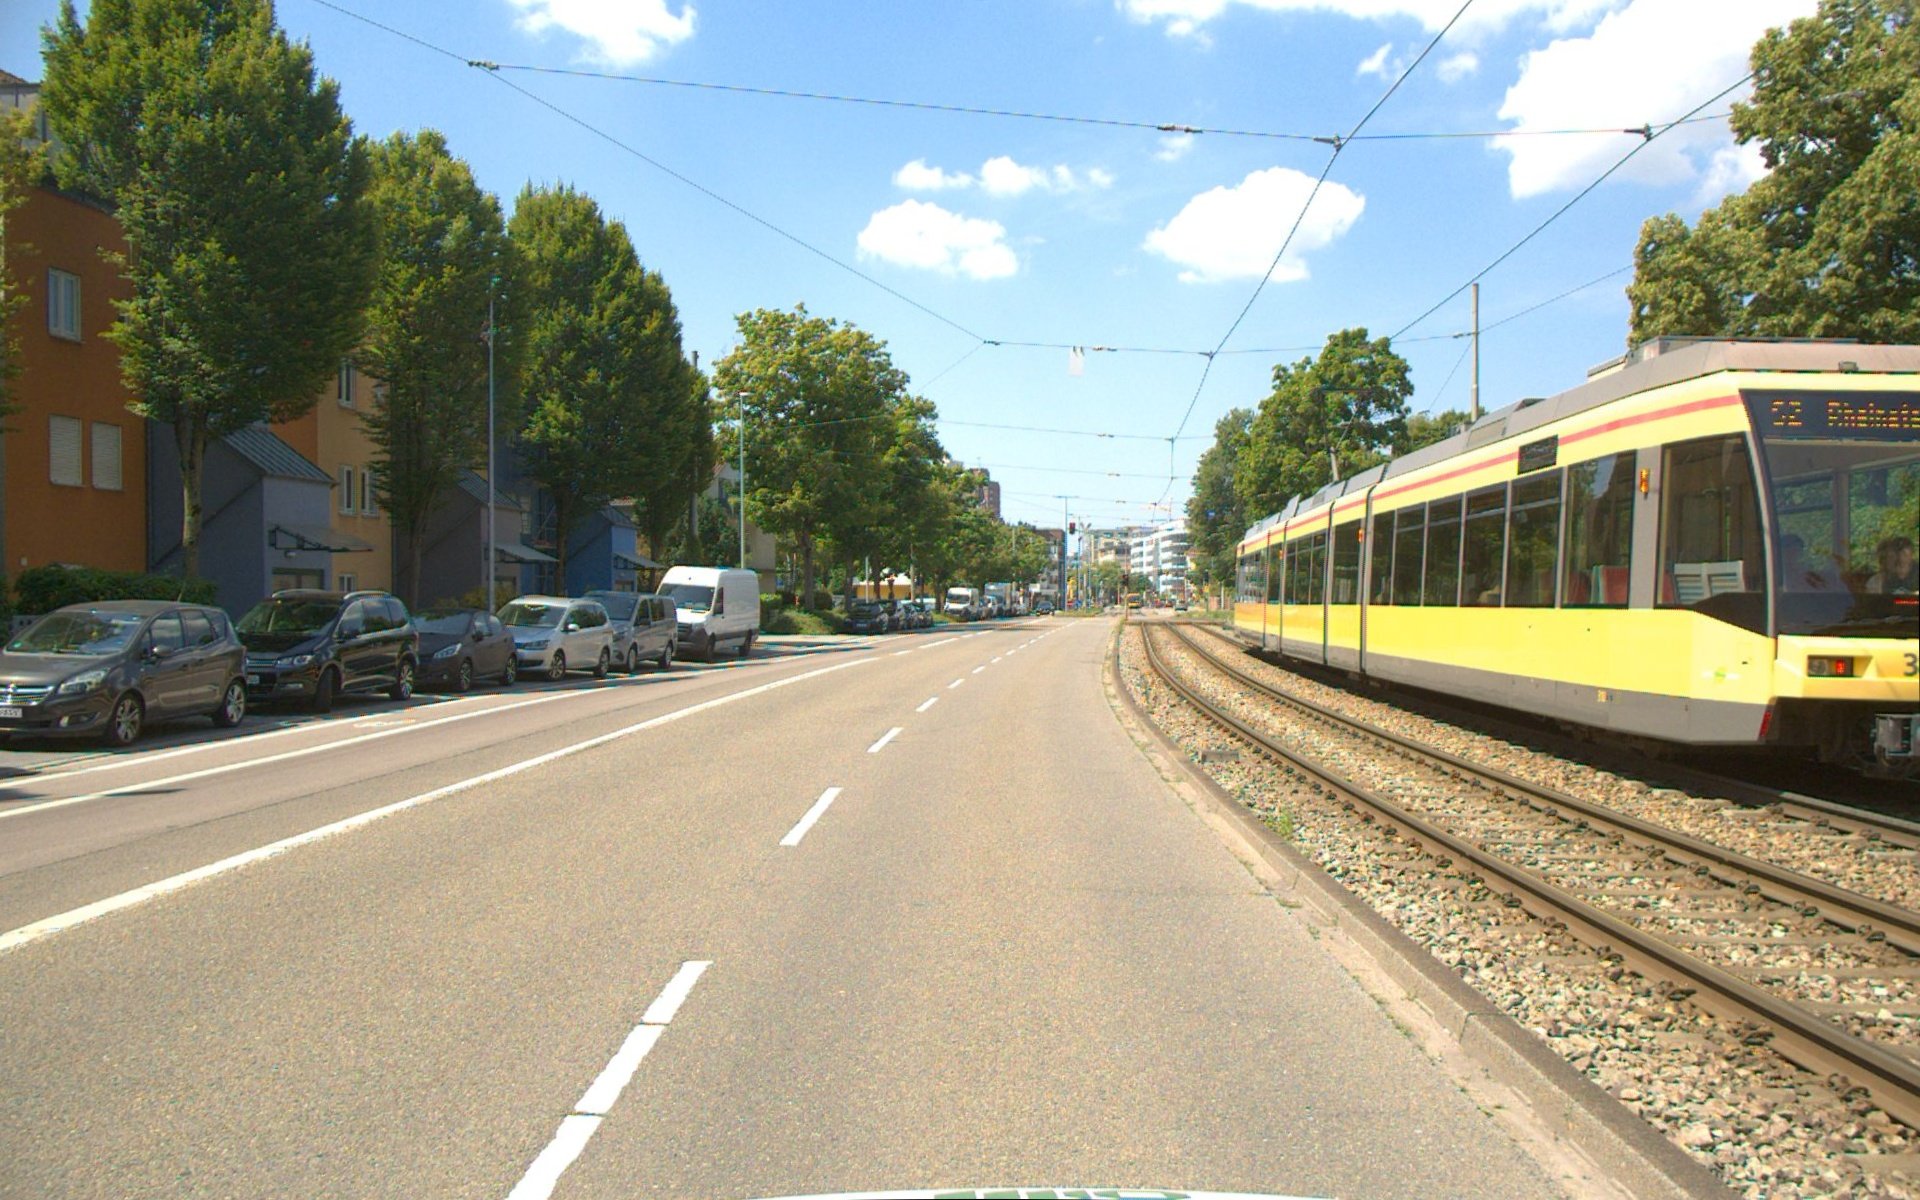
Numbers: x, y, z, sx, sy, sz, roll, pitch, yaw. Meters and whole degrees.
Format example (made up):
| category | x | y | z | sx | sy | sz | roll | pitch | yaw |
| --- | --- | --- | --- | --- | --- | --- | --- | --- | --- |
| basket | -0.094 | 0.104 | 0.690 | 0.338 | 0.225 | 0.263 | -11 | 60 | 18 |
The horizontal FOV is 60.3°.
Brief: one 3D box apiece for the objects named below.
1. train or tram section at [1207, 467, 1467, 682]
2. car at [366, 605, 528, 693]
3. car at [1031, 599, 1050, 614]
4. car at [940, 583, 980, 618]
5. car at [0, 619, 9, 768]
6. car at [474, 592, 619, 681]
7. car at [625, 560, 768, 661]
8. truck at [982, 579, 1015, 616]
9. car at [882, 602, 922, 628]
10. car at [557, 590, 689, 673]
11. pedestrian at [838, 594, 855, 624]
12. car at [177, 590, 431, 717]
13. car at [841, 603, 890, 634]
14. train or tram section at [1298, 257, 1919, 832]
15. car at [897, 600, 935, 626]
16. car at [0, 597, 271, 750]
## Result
| category | x | y | z | sx | sy | sz | roll | pitch | yaw |
| --- | --- | --- | --- | --- | --- | --- | --- | --- | --- |
| train or tram section | 8.129 | -0.481 | 39.210 | 2.882 | 3.756 | 20.293 | 1 | 0 | 4 |
| car | -9.524 | 0.866 | 31.028 | 1.565 | 1.497 | 4.089 | 0 | 0 | 3 |
| car | 8.005 | 0.650 | 165.083 | 1.737 | 1.485 | 4.197 | -2 | 0 | 4 |
| car | 0.012 | 0.055 | 128.014 | 2.111 | 2.530 | 6.198 | 3 | 0 | 8 |
| car | -10.438 | 0.911 | 14.128 | 1.705 | 1.472 | 4.826 | 1 | 0 | 2 |
| car | -8.929 | 0.730 | 36.122 | 1.680 | 1.783 | 4.906 | 0 | 0 | 3 |
| car | -7.842 | 0.273 | 50.101 | 2.275 | 2.697 | 7.040 | 4 | 1 | 7 |
| truck | 3.693 | -0.258 | 155.959 | 2.111 | 3.266 | 7.088 | 3 | 0 | 8 |
| car | -3.255 | 0.833 | 93.495 | 1.737 | 1.397 | 4.699 | 2 | 0 | 4 |
| car | -8.417 | 0.731 | 41.806 | 1.768 | 1.928 | 5.365 | 0 | 0 | 5 |
| pedestrian | -7.109 | 0.554 | 103.655 | 0.954 | 1.855 | 0.795 | -1 | 0 | 3 |
| car | -9.864 | 0.730 | 25.345 | 1.714 | 1.746 | 4.890 | 0 | 0 | 3 |
| car | -4.530 | 0.869 | 80.296 | 1.737 | 1.481 | 4.807 | 0 | 0 | 4 |
| train or tram section | 7.026 | -0.387 | 20.012 | 2.882 | 3.756 | 18.395 | 1 | 0 | 3 |
| car | -2.592 | 0.763 | 98.312 | 1.737 | 1.506 | 4.050 | 1 | 0 | 6 |
| car | -10.187 | 0.800 | 20.121 | 1.621 | 1.645 | 4.287 | -1 | 0 | 3 |
